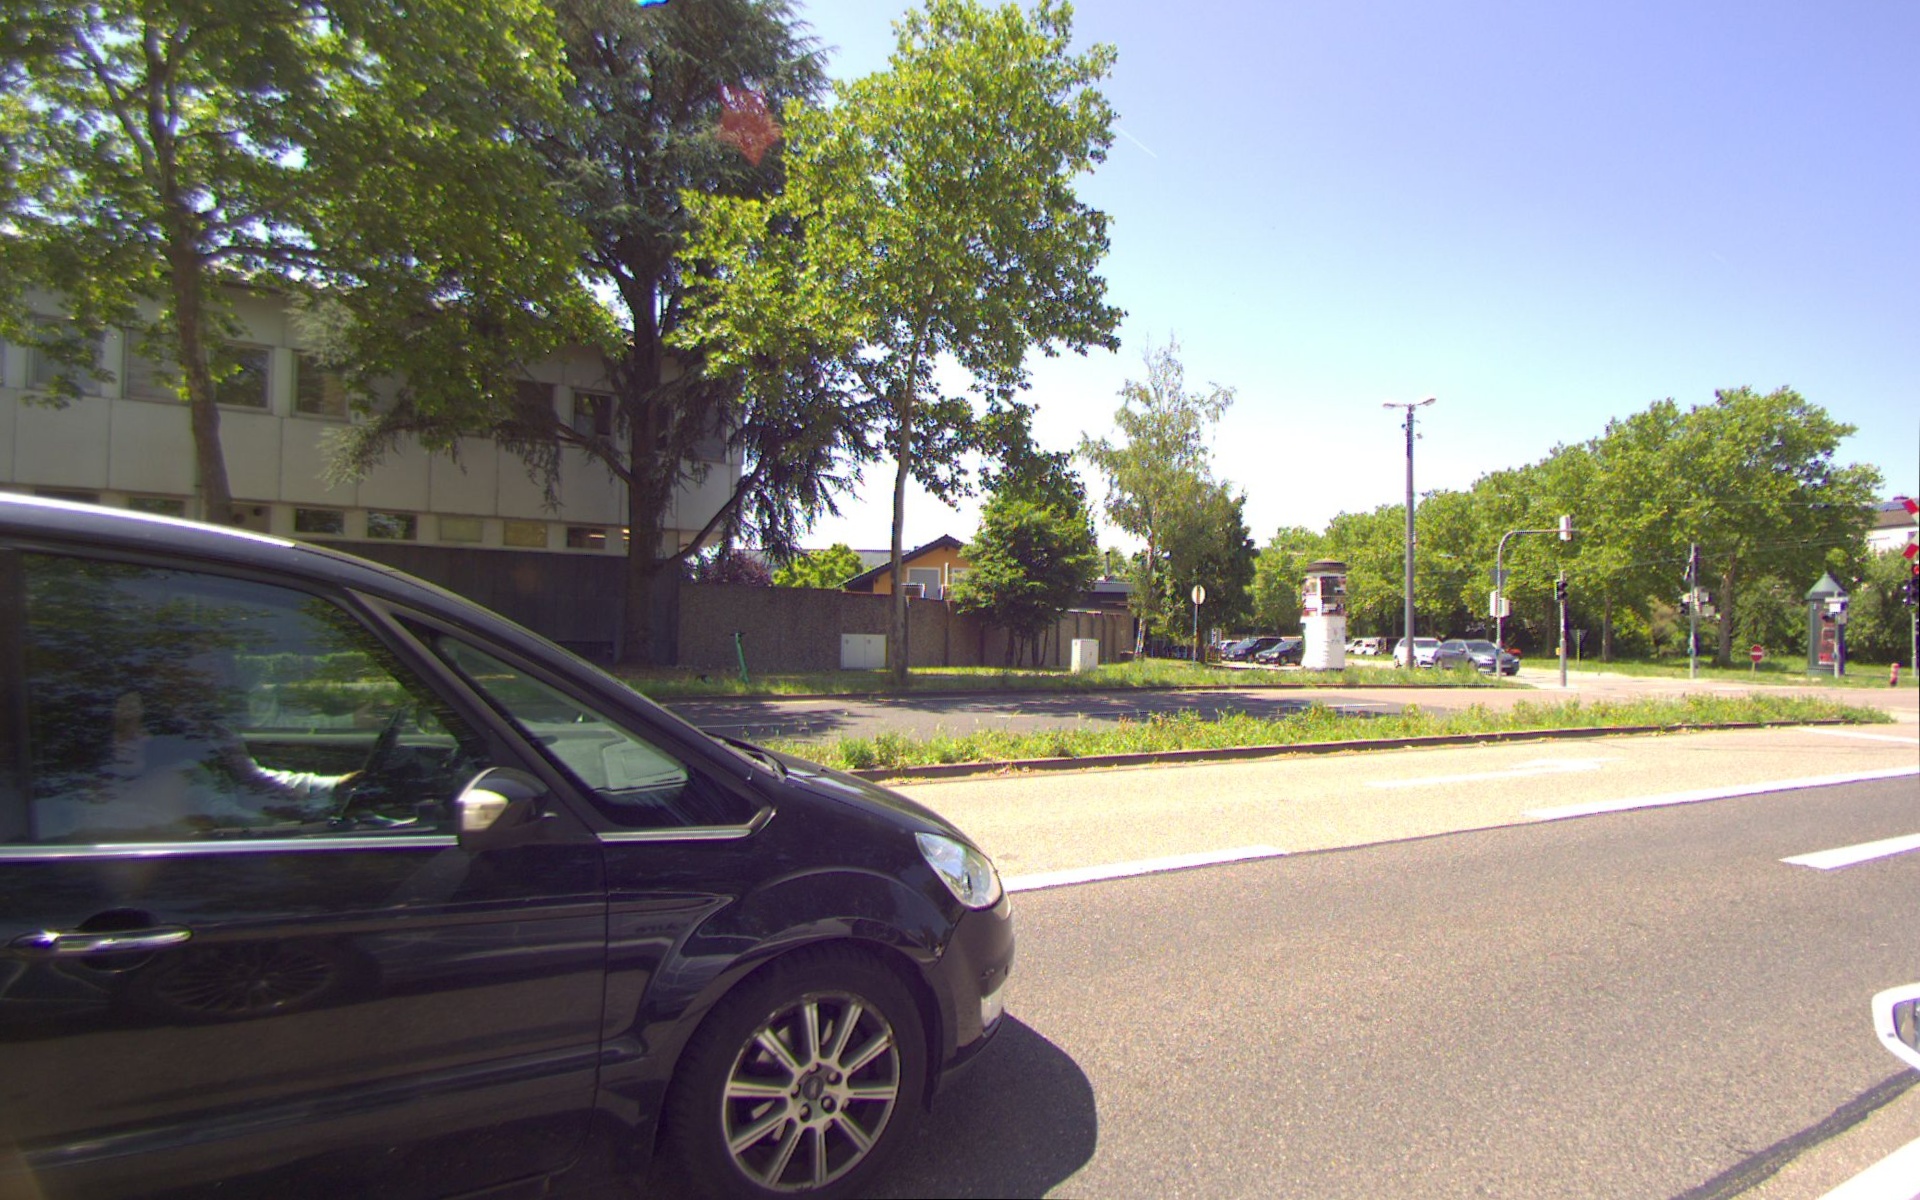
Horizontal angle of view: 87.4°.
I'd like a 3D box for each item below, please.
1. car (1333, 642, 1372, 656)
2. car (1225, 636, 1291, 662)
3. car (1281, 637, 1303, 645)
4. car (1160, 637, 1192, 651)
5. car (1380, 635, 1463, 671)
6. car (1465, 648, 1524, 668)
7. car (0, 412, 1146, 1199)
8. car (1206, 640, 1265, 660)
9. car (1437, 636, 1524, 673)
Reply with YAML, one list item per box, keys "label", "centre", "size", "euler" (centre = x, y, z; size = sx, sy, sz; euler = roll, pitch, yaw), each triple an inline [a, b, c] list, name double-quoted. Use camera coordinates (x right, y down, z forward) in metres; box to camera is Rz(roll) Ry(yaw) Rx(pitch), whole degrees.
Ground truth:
- label: "car"
  centre: [41.636, 5.201, 106.602]
  size: [3.481, 1.415, 1.499]
  euler: [1, -2, -3]
- label: "car"
  centre: [19.632, 3.227, 66.180]
  size: [4.140, 1.672, 1.772]
  euler: [2, -2, -27]
- label: "car"
  centre: [44.589, 5.506, 135.037]
  size: [2.667, 1.007, 1.009]
  euler: [1, -2, -2]
- label: "car"
  centre: [19.114, 3.918, 88.895]
  size: [2.850, 1.221, 1.176]
  euler: [2, -2, -36]
- label: "car"
  centre: [22.773, 2.578, 49.768]
  size: [2.172, 1.626, 4.463]
  euler: [1, -2, 1]
- label: "car"
  centre: [43.525, 4.749, 81.797]
  size: [4.057, 1.415, 1.458]
  euler: [2, 0, -3]
- label: "car"
  centre: [-1.913, 0.591, 2.527]
  size: [4.594, 1.779, 1.845]
  euler: [2, -1, -30]
- label: "car"
  centre: [20.655, 3.741, 75.352]
  size: [4.006, 1.442, 1.935]
  euler: [2, -2, -25]
- label: "car"
  centre: [22.173, 2.278, 42.971]
  size: [1.729, 1.476, 3.994]
  euler: [1, -2, 1]
